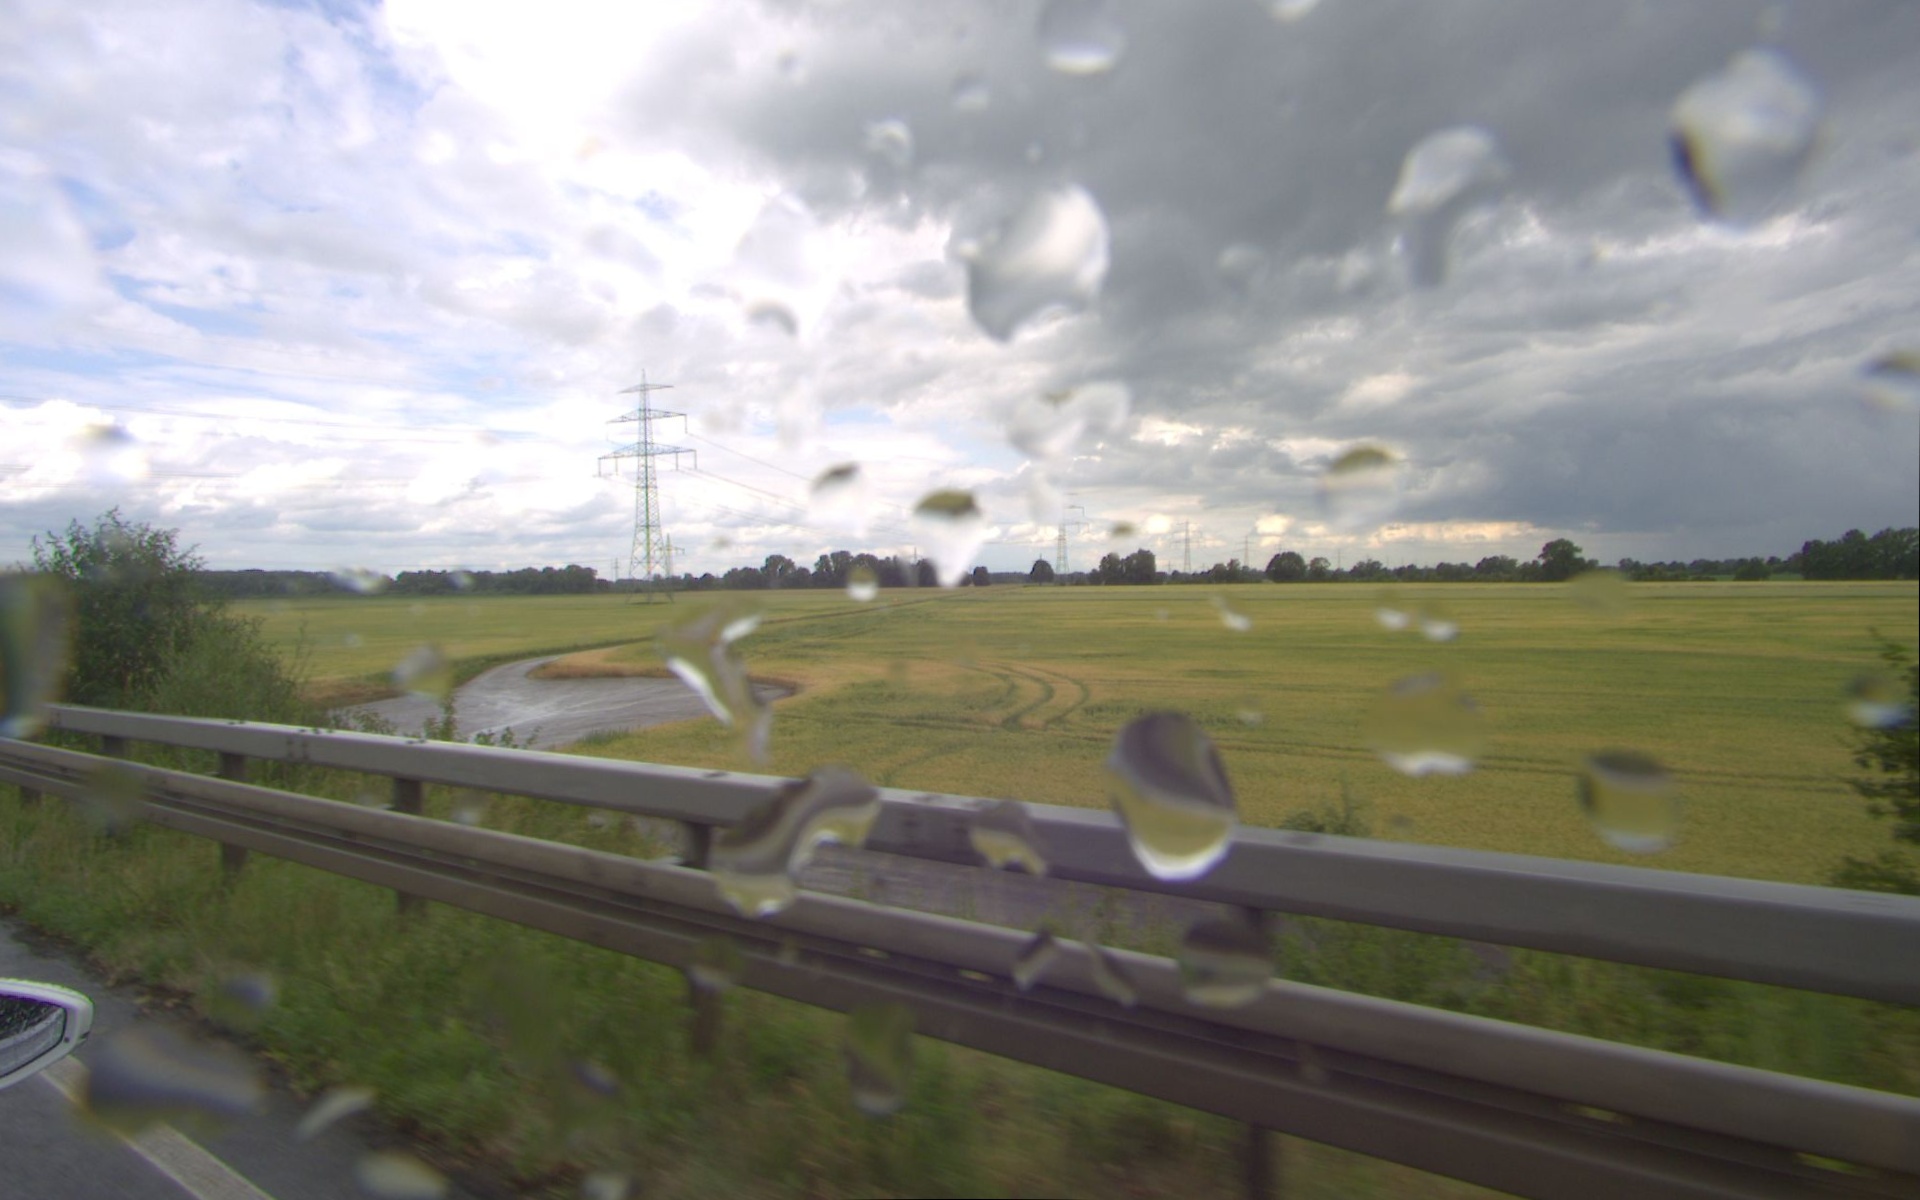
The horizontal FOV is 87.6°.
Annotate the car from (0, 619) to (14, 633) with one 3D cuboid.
[{"bbox_3d":[-144.756,3.990,151.079,1.970,2.039,3.984,0,-2,-27],"label":"car"}]

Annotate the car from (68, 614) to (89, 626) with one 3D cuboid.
[{"bbox_3d":[-155.723,3.486,176.940,1.970,2.039,3.983,0,-2,-28],"label":"car"}]

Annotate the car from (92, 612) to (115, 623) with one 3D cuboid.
[{"bbox_3d":[-158.635,3.277,185.515,1.966,2.039,3.992,0,-2,-19],"label":"car"}]

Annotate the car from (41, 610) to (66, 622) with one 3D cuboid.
[{"bbox_3d":[-151.676,2.689,167.611,2.200,2.039,3.982,0,-2,-28],"label":"car"}]
